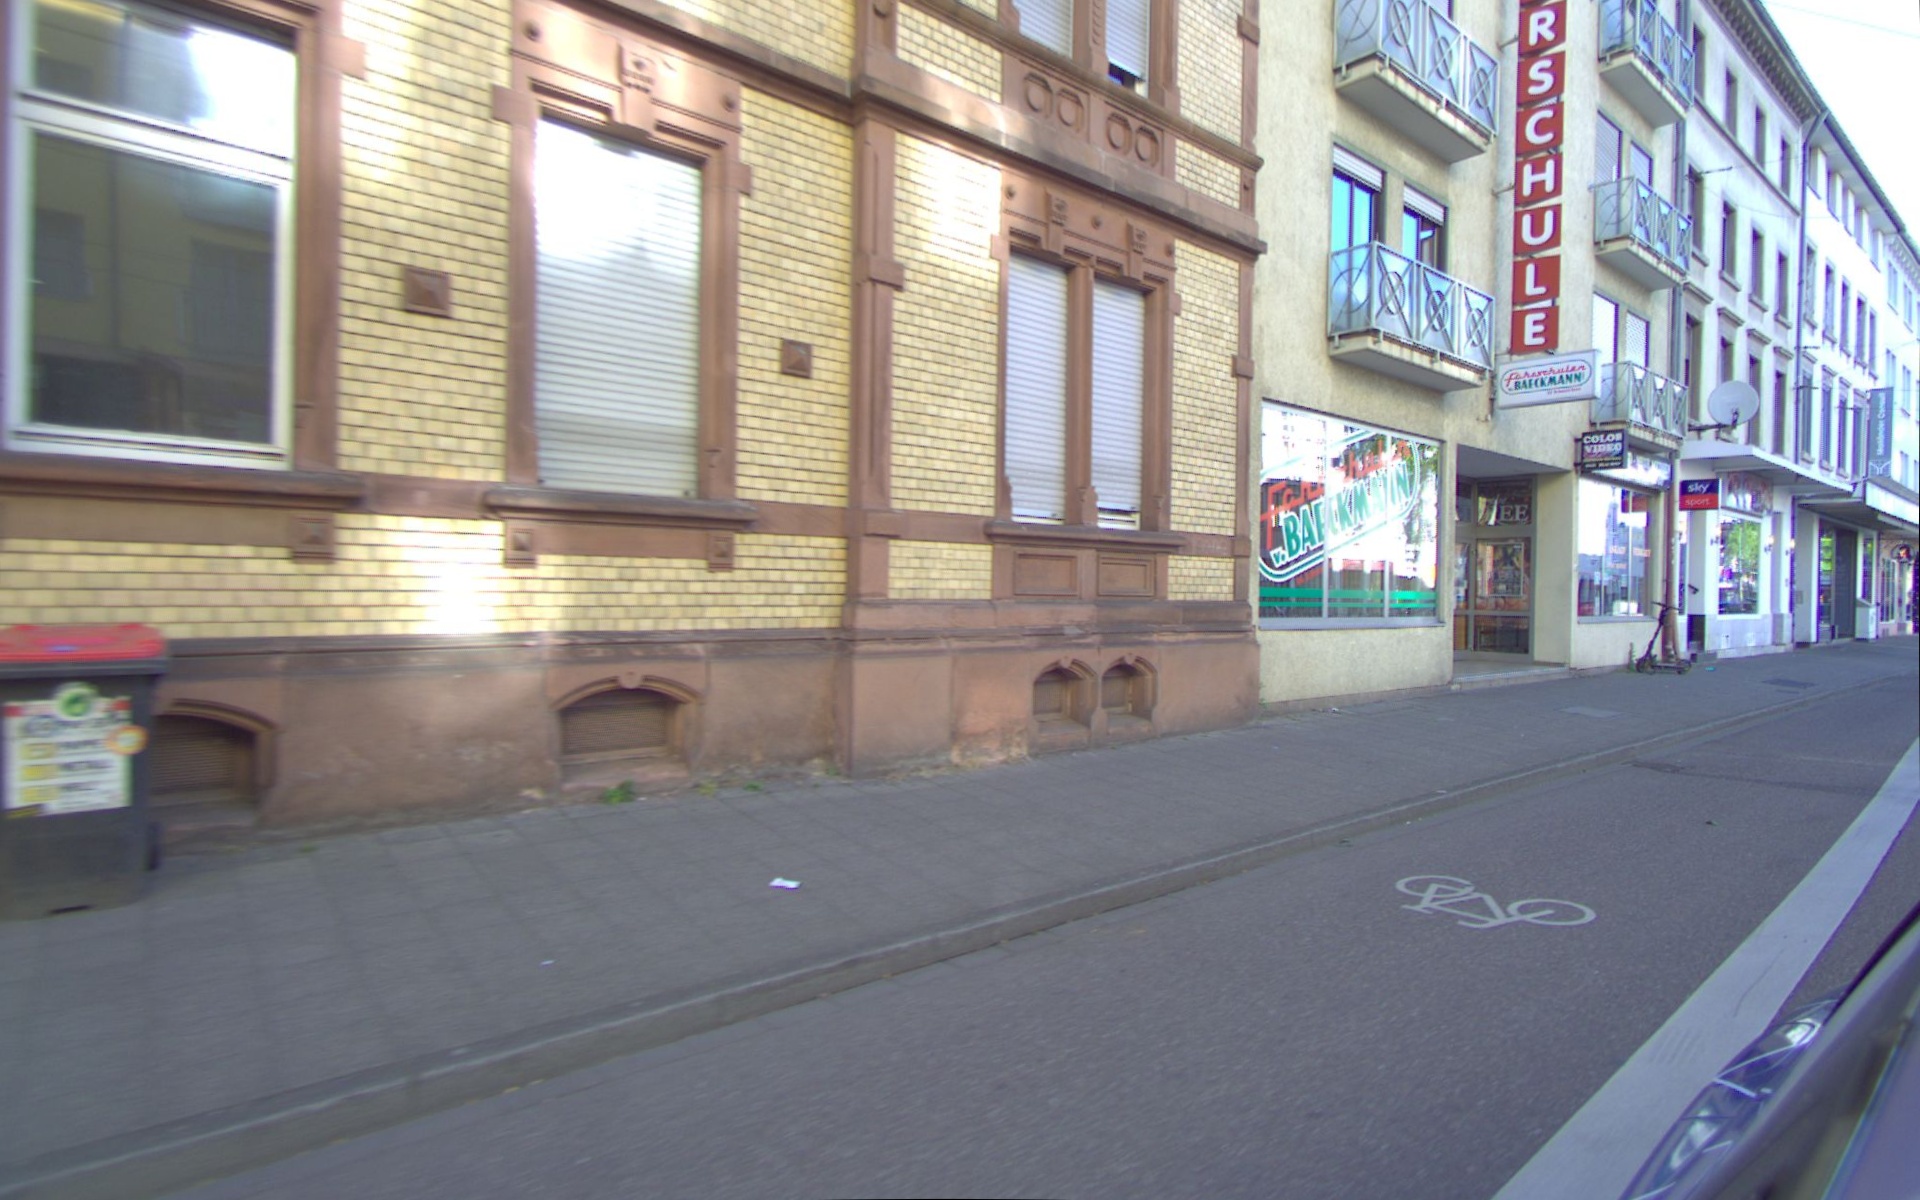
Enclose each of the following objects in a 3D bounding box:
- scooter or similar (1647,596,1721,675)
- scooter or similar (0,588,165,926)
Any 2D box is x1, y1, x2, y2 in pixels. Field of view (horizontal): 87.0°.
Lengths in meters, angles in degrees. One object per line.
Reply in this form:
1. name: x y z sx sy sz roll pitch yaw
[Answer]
1. scooter or similar: 12.263 0.584 17.141 1.257 1.297 0.412 0 0 -24
2. scooter or similar: -3.658 0.566 3.989 0.776 1.162 0.792 0 5 -41
